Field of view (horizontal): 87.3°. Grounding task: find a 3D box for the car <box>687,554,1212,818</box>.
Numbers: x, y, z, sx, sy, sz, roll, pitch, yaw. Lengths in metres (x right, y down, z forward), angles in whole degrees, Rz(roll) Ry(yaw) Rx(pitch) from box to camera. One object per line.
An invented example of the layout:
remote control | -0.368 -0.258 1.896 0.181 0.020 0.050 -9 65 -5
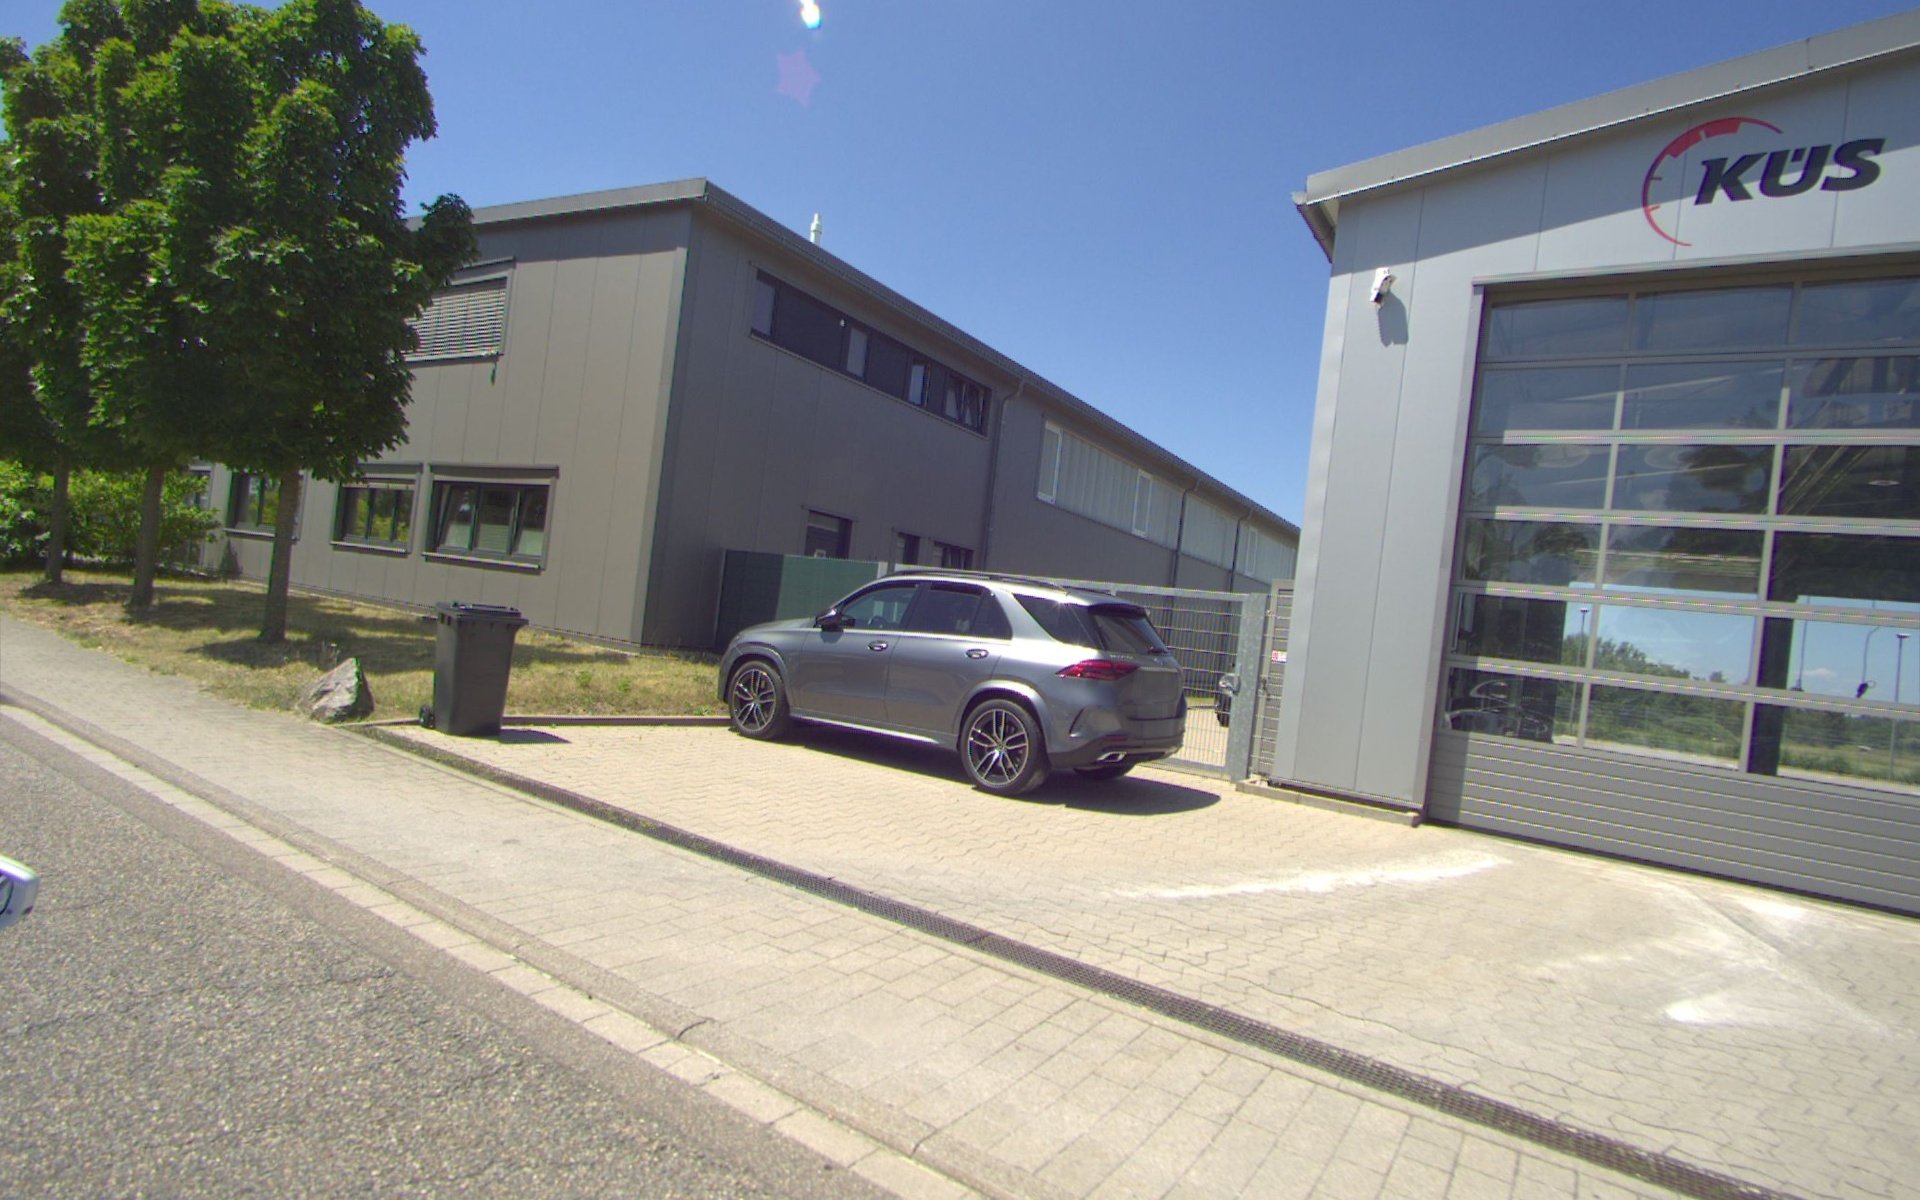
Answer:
car | -0.282 0.647 9.697 4.830 1.805 1.785 5 -1 36

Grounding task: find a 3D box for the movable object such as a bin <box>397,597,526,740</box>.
movable object such as a bin | -4.117 0.558 8.310 0.832 1.065 0.531 6 -1 36

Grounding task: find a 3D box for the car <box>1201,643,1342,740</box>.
car | 5.953 1.723 18.995 1.640 1.467 3.479 6 -2 31
